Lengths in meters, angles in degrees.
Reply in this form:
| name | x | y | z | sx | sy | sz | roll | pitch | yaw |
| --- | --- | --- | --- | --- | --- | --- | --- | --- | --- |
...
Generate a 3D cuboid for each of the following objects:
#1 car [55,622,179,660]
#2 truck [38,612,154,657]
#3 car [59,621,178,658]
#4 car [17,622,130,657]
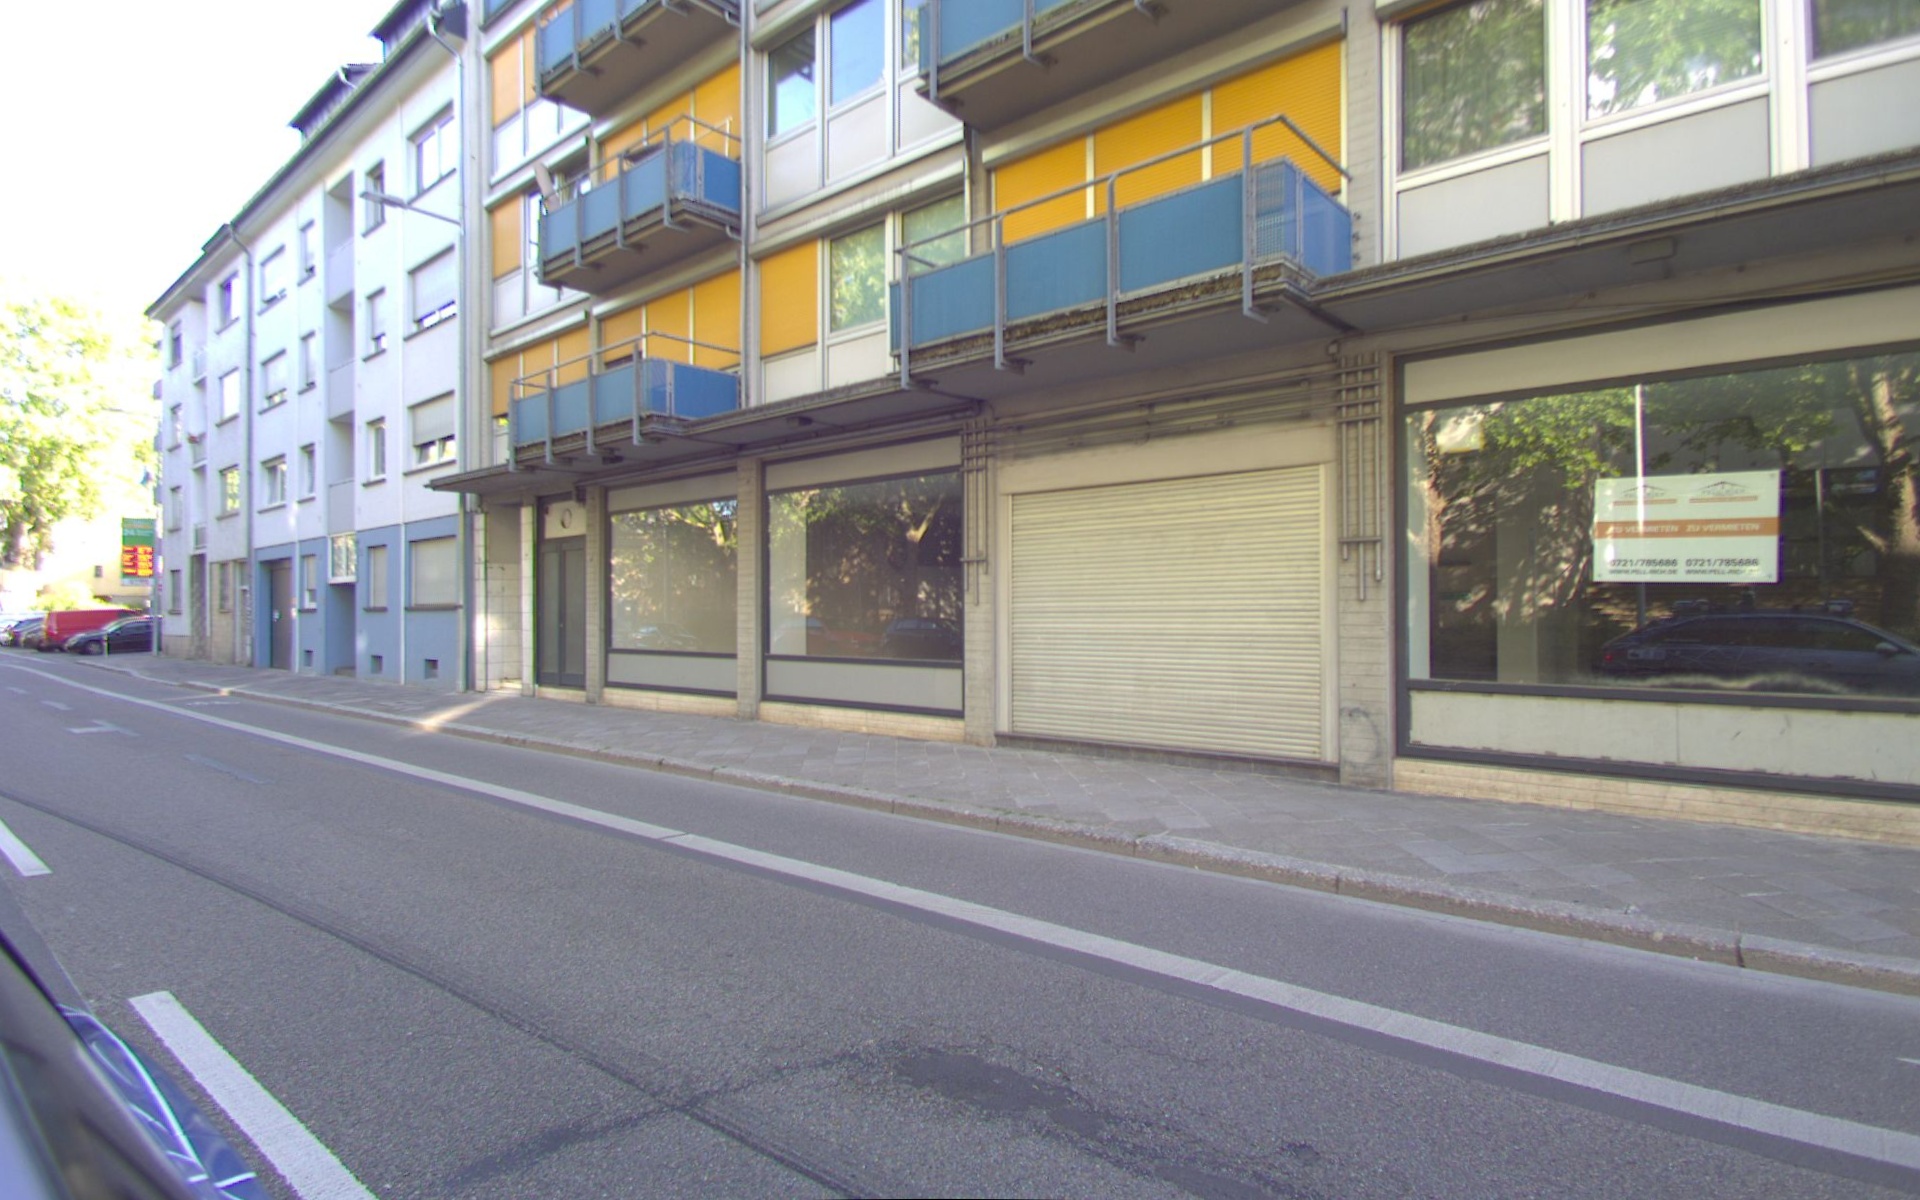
| name | x | y | z | sx | sy | sz | roll | pitch | yaw |
| --- | --- | --- | --- | --- | --- | --- | --- | --- | --- |
| car | -36.628 | 1.761 | 44.014 | 1.761 | 1.468 | 3.944 | -1 | 0 | 42 |
| truck | -40.499 | 1.569 | 47.494 | 1.761 | 1.951 | 3.944 | -1 | 0 | 42 |
| car | -38.108 | 1.757 | 45.902 | 1.761 | 1.514 | 3.944 | -1 | 0 | 42 |
| car | -42.909 | 1.902 | 49.041 | 1.761 | 1.514 | 3.944 | -1 | 0 | 42 |
